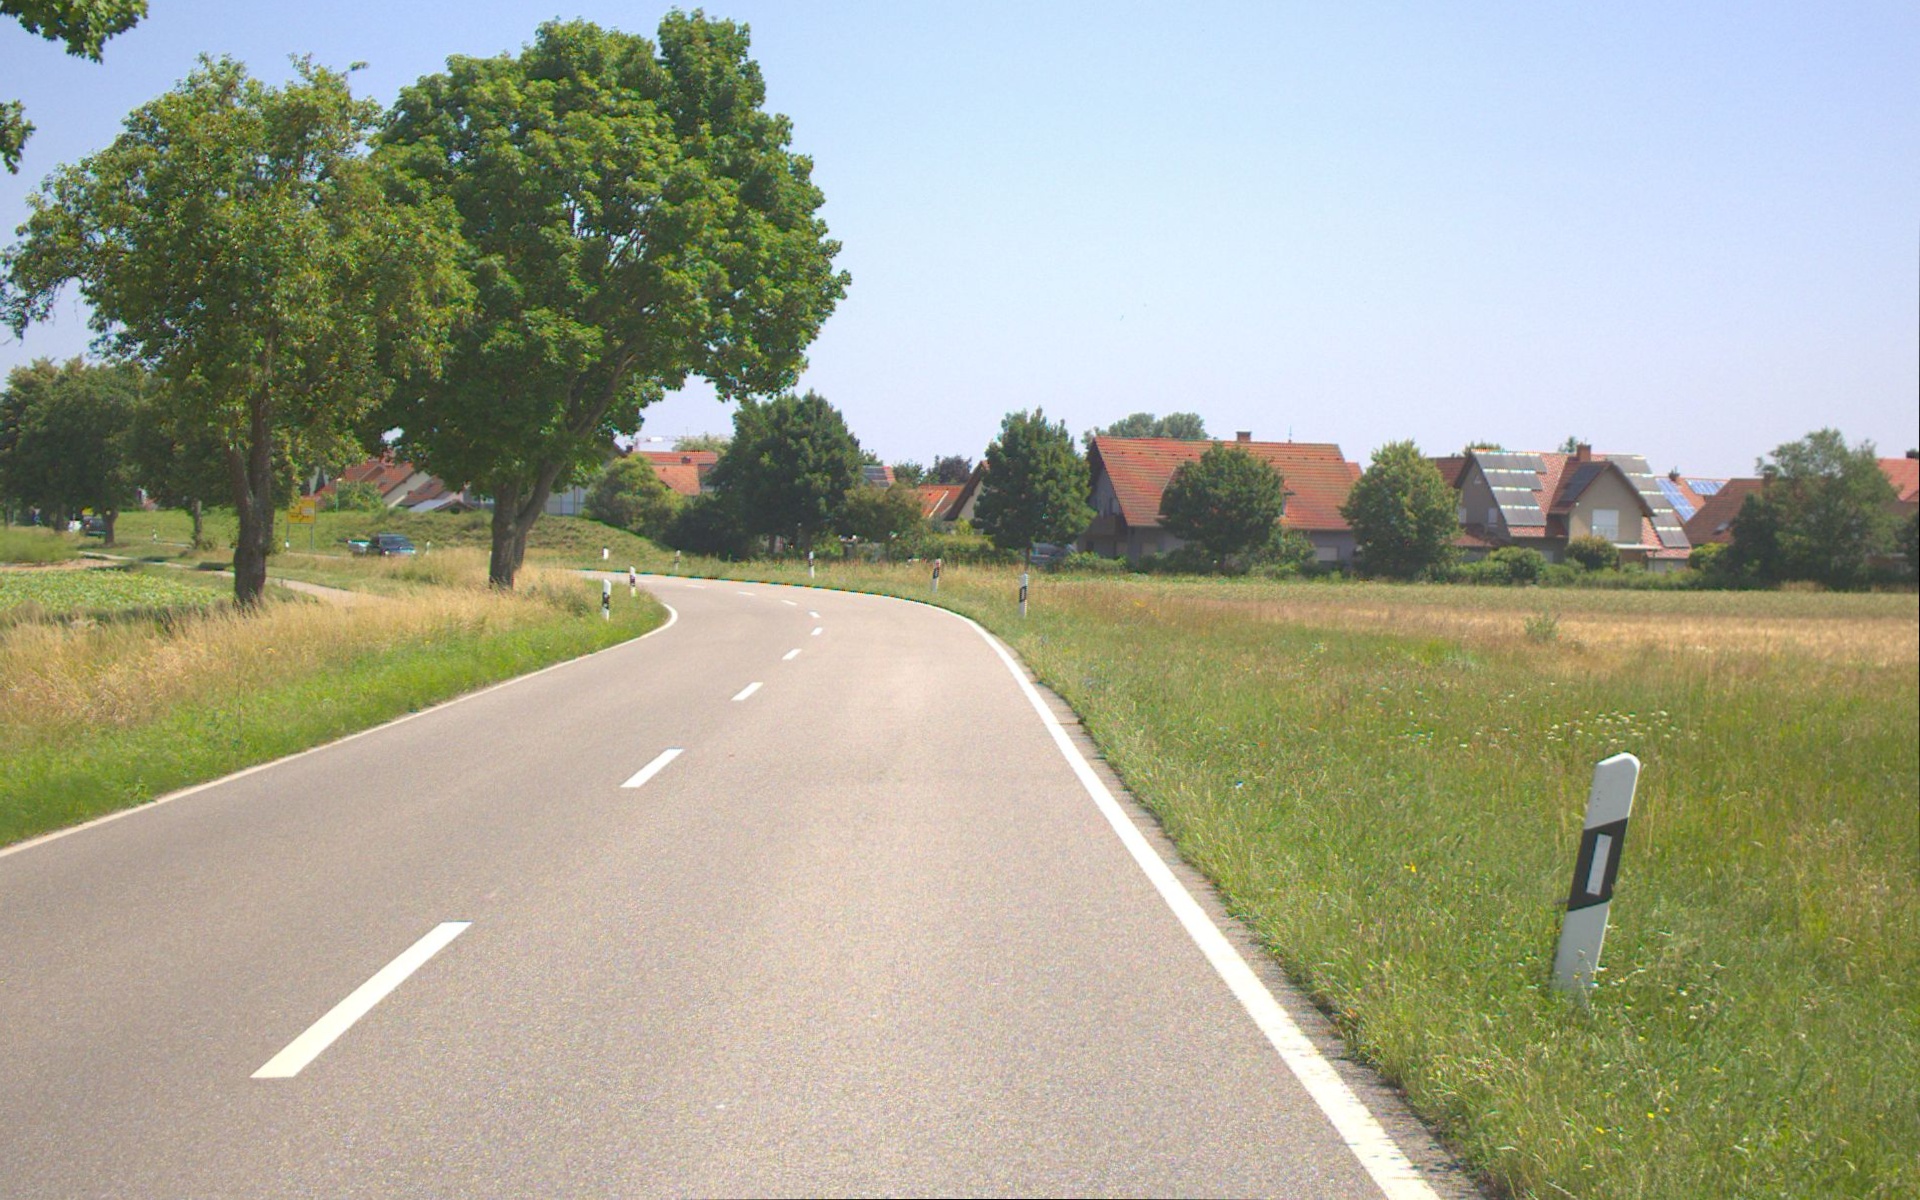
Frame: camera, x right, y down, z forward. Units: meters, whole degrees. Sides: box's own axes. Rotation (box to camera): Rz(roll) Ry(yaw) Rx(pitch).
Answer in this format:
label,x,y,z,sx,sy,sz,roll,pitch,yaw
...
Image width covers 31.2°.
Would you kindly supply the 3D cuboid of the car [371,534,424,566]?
label,x,y,z,sx,sy,sz,roll,pitch,yaw
car,-26.490,-2.337,161.741,1.643,1.424,4.181,-2,1,-20
